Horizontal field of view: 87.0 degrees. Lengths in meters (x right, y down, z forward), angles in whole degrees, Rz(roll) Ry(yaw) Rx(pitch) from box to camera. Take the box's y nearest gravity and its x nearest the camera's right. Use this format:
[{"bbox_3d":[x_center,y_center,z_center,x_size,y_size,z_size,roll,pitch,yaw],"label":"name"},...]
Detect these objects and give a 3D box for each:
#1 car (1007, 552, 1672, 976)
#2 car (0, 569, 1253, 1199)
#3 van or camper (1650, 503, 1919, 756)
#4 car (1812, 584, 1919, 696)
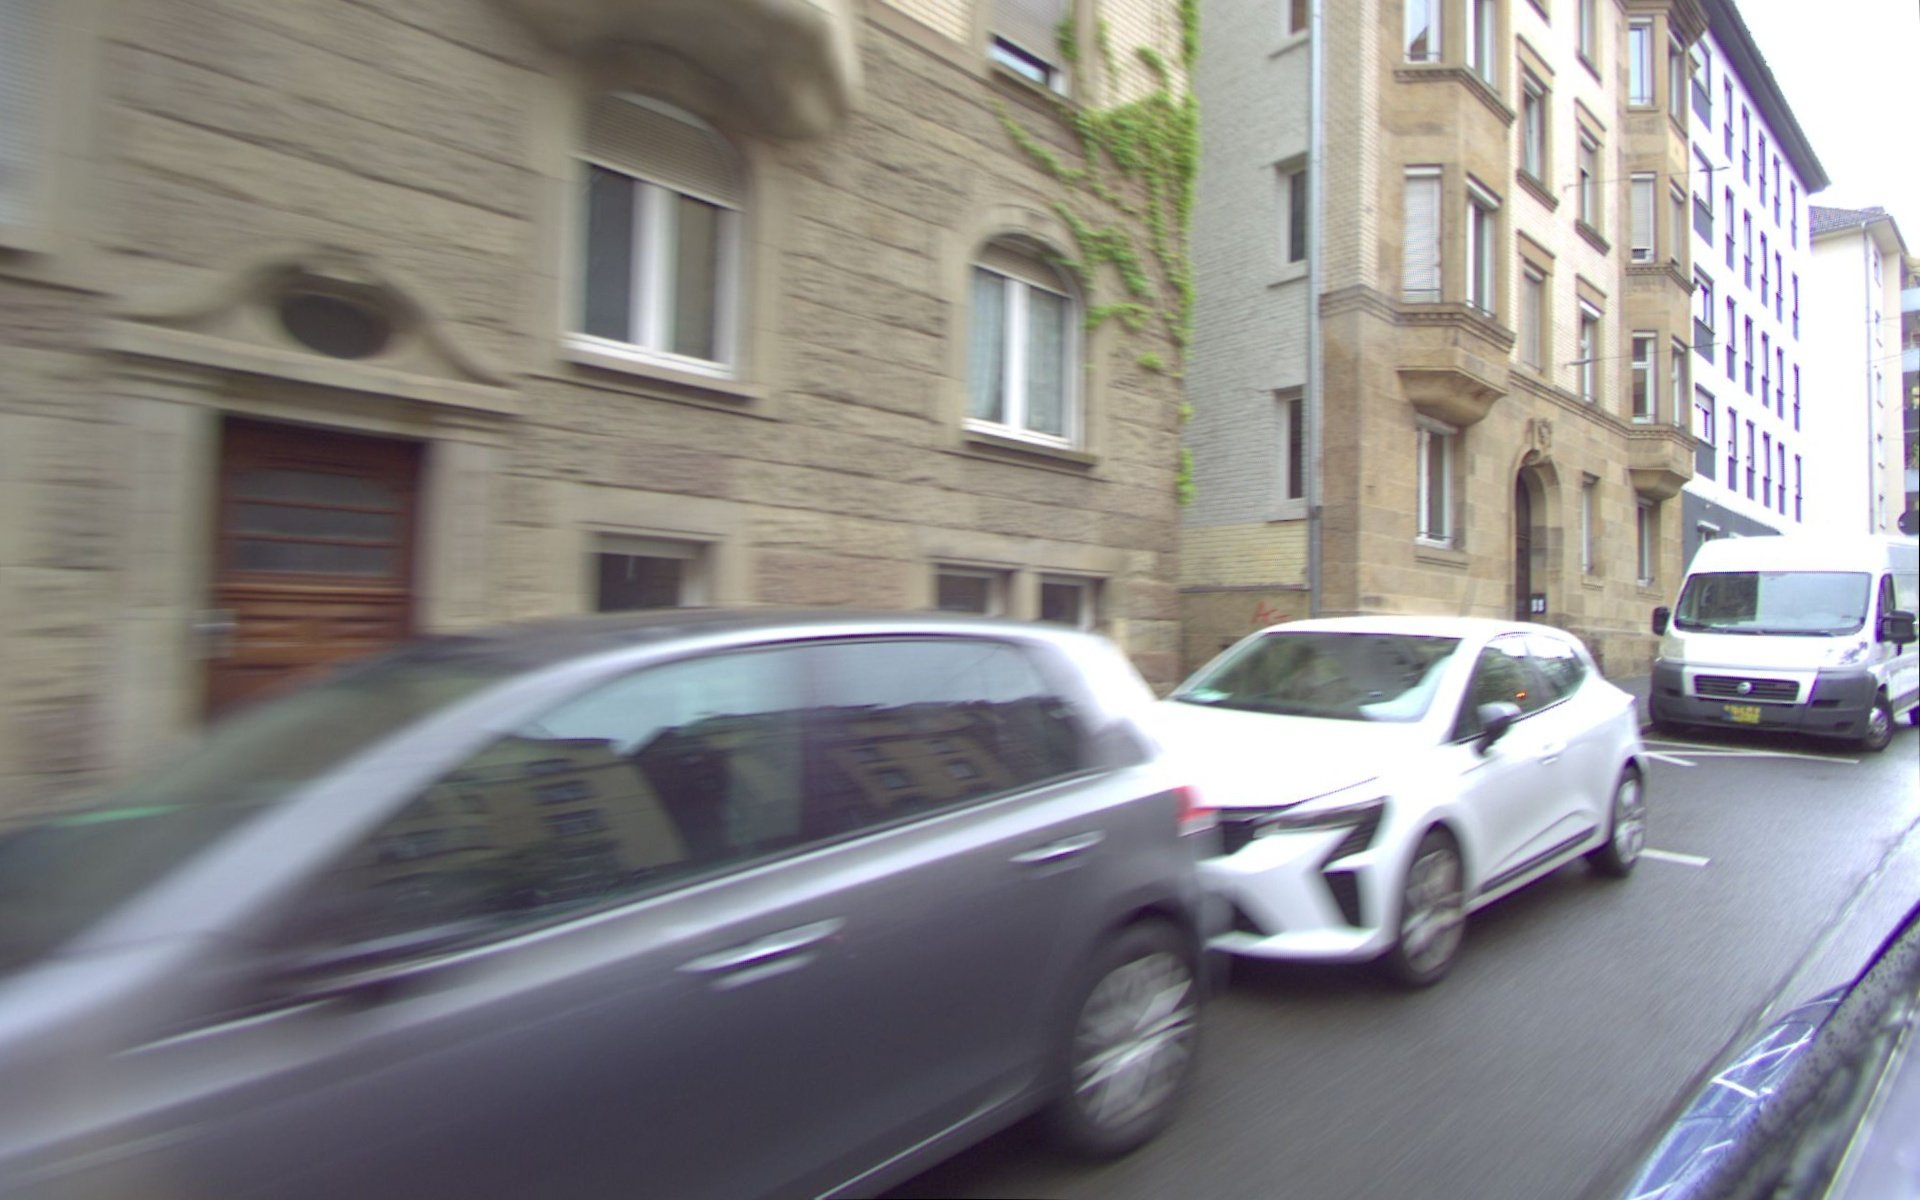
[{"bbox_3d":[2.231,0.571,5.371,3.931,1.429,1.678,0,-1,-42],"label":"car"},{"bbox_3d":[-1.252,0.690,2.409,3.931,1.459,1.996,0,0,-42],"label":"car"},{"bbox_3d":[10.842,0.288,12.759,6.011,2.500,2.068,0,0,-41],"label":"van or camper"},{"bbox_3d":[17.048,0.680,18.332,4.403,1.831,1.771,0,-2,-41],"label":"car"}]
